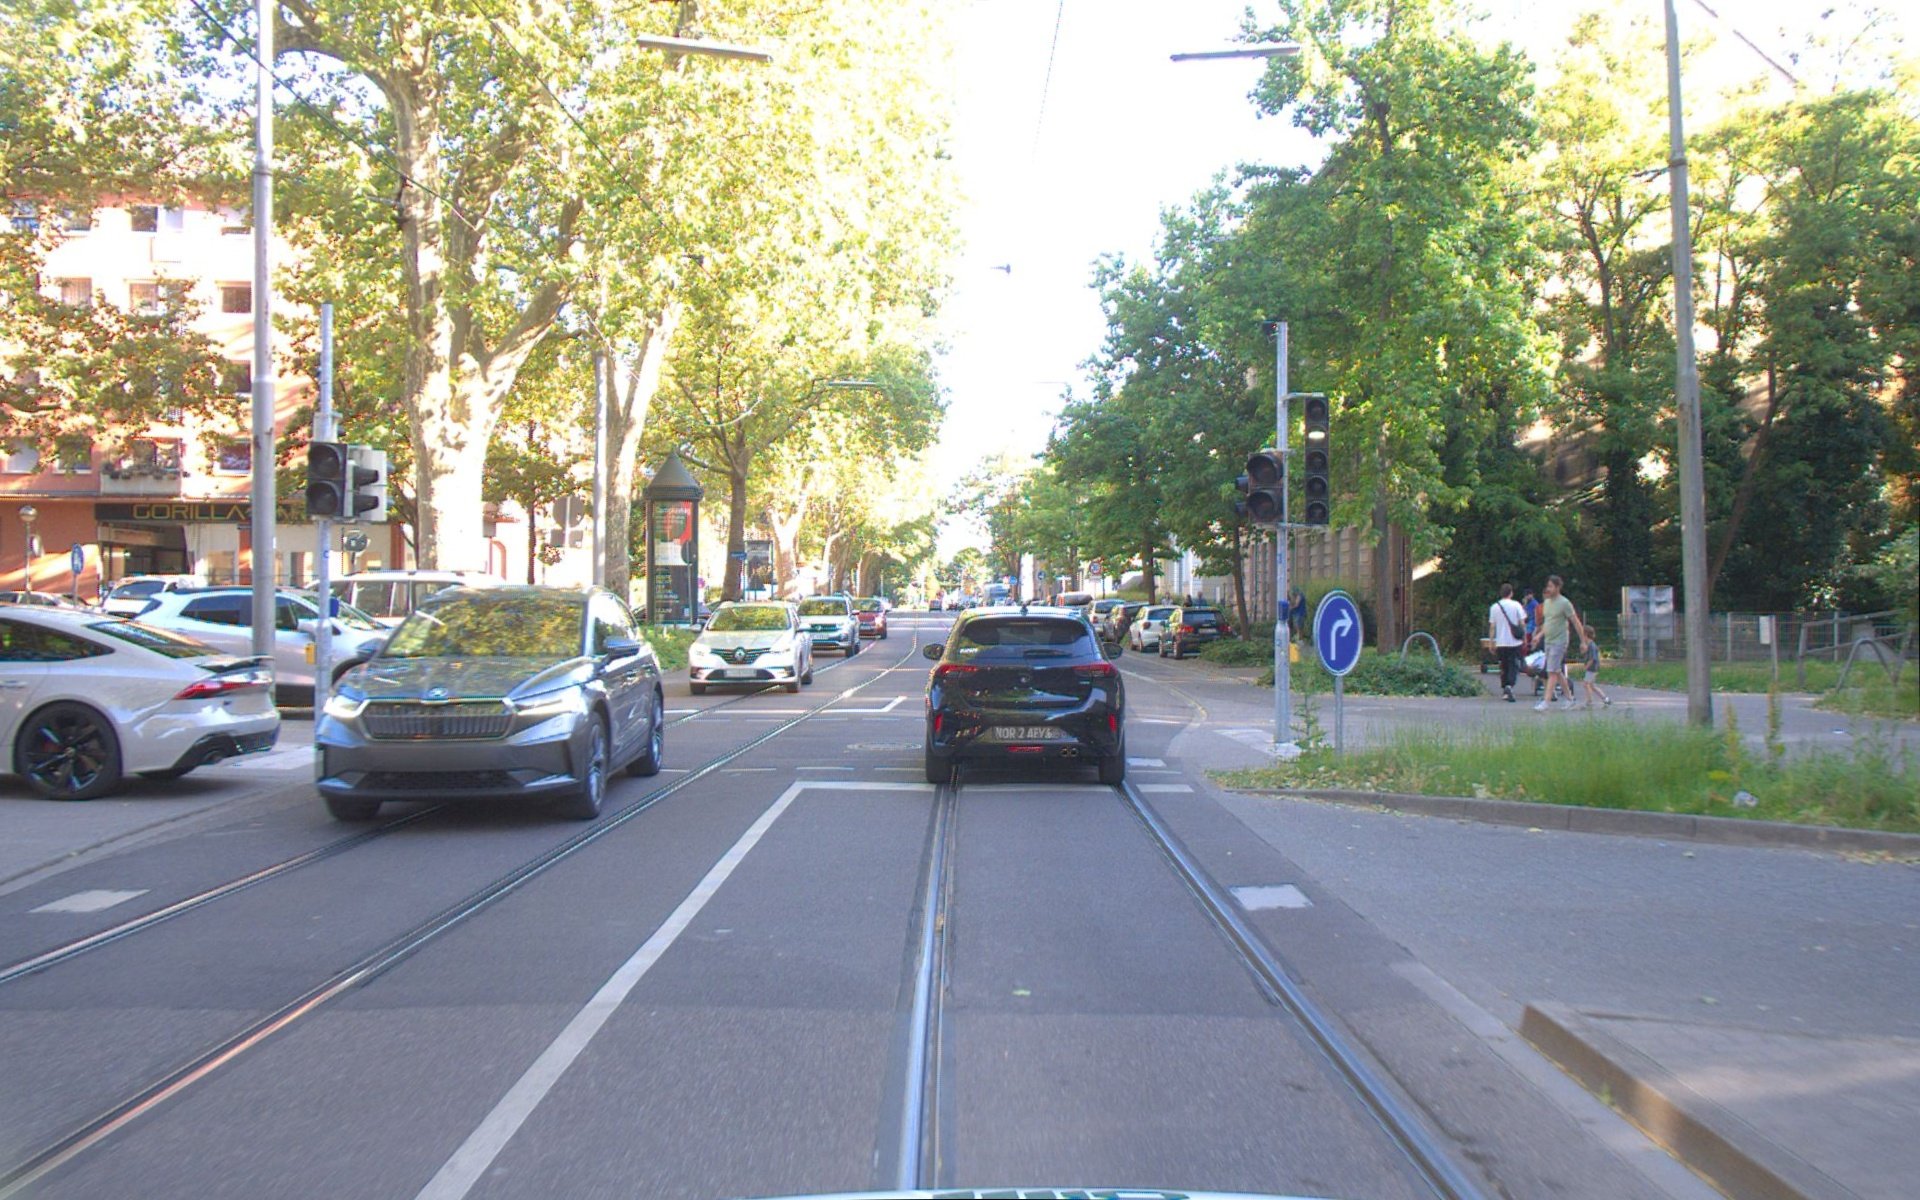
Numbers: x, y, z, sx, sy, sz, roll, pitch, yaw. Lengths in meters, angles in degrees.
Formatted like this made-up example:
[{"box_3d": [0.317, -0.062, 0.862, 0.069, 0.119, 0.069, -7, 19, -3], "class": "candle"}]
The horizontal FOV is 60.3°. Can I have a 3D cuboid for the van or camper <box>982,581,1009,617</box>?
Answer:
[{"box_3d": [3.339, -0.098, 157.016, 2.208, 3.272, 5.529, -1, 0, -1], "class": "van or camper"}]

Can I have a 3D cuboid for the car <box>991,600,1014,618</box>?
[{"box_3d": [3.646, 0.804, 143.249, 1.767, 1.460, 3.998, -1, -1, -2], "class": "car"}]

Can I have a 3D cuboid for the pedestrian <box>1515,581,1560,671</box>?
[{"box_3d": [11.411, 0.515, 32.694, 0.608, 1.756, 0.552, 1, -1, -17], "class": "pedestrian"}]

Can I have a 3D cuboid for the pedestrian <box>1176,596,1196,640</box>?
[{"box_3d": [9.132, 0.714, 66.883, 0.711, 1.739, 0.856, 1, -1, 1], "class": "pedestrian"}]

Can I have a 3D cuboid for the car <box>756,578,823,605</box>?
[{"box_3d": [-10.970, -0.550, 106.683, 4.214, 1.635, 1.924, 1, 0, -4], "class": "car"}]

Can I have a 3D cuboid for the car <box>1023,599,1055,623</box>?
[{"box_3d": [5.094, 0.728, 107.075, 1.668, 1.448, 3.977, -3, 0, -1], "class": "car"}]

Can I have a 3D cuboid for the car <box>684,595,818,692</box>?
[{"box_3d": [-3.430, 0.685, 27.819, 1.739, 1.486, 4.203, 1, 0, -1], "class": "car"}]

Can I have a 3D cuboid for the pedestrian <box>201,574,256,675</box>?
[{"box_3d": [-13.605, 0.452, 30.780, 0.630, 1.841, 0.752, 1, -1, 4], "class": "pedestrian"}]

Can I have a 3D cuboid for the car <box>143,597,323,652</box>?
[{"box_3d": [-21.286, 0.721, 48.586, 4.441, 1.515, 1.857, 1, 0, -7], "class": "car"}]

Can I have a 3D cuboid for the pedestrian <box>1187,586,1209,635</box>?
[{"box_3d": [8.989, 0.399, 62.398, 0.711, 1.824, 0.600, 1, -1, -1], "class": "pedestrian"}]

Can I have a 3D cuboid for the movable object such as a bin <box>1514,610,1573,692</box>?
[{"box_3d": [9.140, 0.782, 25.940, 0.625, 1.223, 1.306, -2, 0, 9], "class": "movable object such as a bin"}]

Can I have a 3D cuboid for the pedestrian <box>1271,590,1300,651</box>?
[{"box_3d": [9.921, 0.623, 50.436, 0.711, 1.824, 0.600, 1, -1, 25], "class": "pedestrian"}]

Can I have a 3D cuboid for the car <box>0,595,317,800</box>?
[{"box_3d": [-7.835, 0.701, 13.120, 4.669, 1.486, 1.954, 1, 0, -3], "class": "car"}]

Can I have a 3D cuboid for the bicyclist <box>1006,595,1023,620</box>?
[{"box_3d": [3.340, 0.459, 102.236, 0.939, 1.525, 1.093, 1, 0, -3], "class": "bicyclist"}]

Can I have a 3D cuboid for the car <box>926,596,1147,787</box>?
[{"box_3d": [0.567, 0.734, 15.046, 1.727, 1.486, 3.949, 1, 0, -1], "class": "car"}]

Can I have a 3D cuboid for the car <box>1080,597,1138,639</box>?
[{"box_3d": [6.060, 0.709, 67.720, 1.846, 1.595, 4.240, -2, 0, -2], "class": "car"}]

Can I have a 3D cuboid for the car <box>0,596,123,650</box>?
[{"box_3d": [-26.790, 0.645, 47.643, 4.386, 1.475, 1.820, 1, 0, -10], "class": "car"}]

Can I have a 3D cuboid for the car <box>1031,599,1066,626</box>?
[{"box_3d": [5.249, 0.727, 98.352, 1.678, 1.540, 4.034, -2, 0, -3], "class": "car"}]

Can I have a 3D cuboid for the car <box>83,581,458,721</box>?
[{"box_3d": [-8.847, 0.641, 21.516, 4.056, 1.675, 1.901, 1, 0, -3], "class": "car"}]

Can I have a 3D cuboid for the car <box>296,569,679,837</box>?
[{"box_3d": [-3.366, 0.660, 12.677, 1.870, 1.666, 4.318, -1, 0, -3], "class": "car"}]

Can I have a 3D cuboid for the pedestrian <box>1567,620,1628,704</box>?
[{"box_3d": [8.839, 0.849, 22.957, 0.660, 1.138, 0.660, 1, -1, 10], "class": "pedestrian"}]

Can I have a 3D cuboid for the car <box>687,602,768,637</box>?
[{"box_3d": [-10.351, 0.861, 73.784, 3.349, 1.490, 1.697, 1, 0, 1], "class": "car"}]

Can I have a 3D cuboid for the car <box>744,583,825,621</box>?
[{"box_3d": [-10.975, 0.131, 103.557, 4.934, 2.299, 2.083, 1, 0, -5], "class": "car"}]

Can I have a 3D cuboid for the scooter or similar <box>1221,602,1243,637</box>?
[{"box_3d": [9.868, 0.705, 59.952, 0.564, 1.268, 1.335, 1, 0, 0], "class": "scooter or similar"}]

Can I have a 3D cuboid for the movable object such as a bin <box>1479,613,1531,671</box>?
[{"box_3d": [11.127, 0.846, 33.794, 0.653, 1.146, 0.955, 1, 0, -9], "class": "movable object such as a bin"}]

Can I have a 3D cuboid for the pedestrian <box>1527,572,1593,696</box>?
[{"box_3d": [9.066, 0.498, 25.027, 0.710, 1.824, 0.969, -2, 0, 9], "class": "pedestrian"}]

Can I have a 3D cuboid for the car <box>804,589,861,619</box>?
[{"box_3d": [-11.499, 0.399, 149.423, 4.934, 2.416, 2.081, -3, 0, -1], "class": "car"}]

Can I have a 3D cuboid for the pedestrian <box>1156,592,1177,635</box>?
[{"box_3d": [8.333, 0.557, 66.872, 0.711, 1.722, 0.957, 1, -1, 1], "class": "pedestrian"}]

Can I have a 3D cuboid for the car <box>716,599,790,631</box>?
[{"box_3d": [-10.151, 0.721, 81.292, 3.349, 1.490, 1.759, 1, 0, 1], "class": "car"}]

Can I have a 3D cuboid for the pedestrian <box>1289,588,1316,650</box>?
[{"box_3d": [10.273, 0.561, 49.654, 0.587, 1.824, 0.728, 1, -1, -4], "class": "pedestrian"}]

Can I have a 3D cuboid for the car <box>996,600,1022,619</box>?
[{"box_3d": [3.928, 0.747, 133.100, 1.846, 1.459, 4.528, -2, 0, -1], "class": "car"}]

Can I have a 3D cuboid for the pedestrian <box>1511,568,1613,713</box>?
[{"box_3d": [8.188, 0.539, 22.519, 0.854, 1.918, 0.992, 1, -1, -19], "class": "pedestrian"}]

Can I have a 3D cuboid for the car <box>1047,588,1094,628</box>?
[{"box_3d": [5.524, 0.419, 83.303, 1.846, 1.883, 4.966, -2, 0, -1], "class": "car"}]

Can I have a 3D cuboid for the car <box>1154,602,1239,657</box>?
[{"box_3d": [6.679, 0.806, 47.048, 1.639, 1.437, 3.840, -2, 0, -3], "class": "car"}]

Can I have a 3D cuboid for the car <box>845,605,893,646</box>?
[{"box_3d": [-3.425, 0.941, 62.681, 1.627, 1.469, 3.472, 1, 0, -1], "class": "car"}]

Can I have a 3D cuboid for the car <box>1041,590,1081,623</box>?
[{"box_3d": [5.617, 0.358, 92.457, 1.847, 1.797, 4.676, 0, 0, -1], "class": "car"}]

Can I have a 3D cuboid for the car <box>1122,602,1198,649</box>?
[{"box_3d": [6.437, 0.809, 53.592, 1.846, 1.392, 4.105, -2, 0, -2], "class": "car"}]

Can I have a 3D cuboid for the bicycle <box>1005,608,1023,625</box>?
[{"box_3d": [3.333, 1.017, 102.259, 0.948, 1.016, 2.581, 1, 0, -3], "class": "bicycle"}]

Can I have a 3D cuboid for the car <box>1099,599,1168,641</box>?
[{"box_3d": [6.567, 0.745, 62.975, 1.846, 1.492, 4.591, -2, 0, -3], "class": "car"}]

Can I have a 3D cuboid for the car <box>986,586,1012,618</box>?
[{"box_3d": [3.523, 0.158, 150.454, 2.043, 2.820, 4.696, -1, 0, -1], "class": "car"}]

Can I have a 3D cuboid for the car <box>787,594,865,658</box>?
[{"box_3d": [-3.531, 0.665, 44.256, 1.779, 1.596, 4.115, -1, 0, -1], "class": "car"}]

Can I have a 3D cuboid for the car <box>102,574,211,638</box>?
[{"box_3d": [-26.734, 0.198, 55.194, 1.957, 2.038, 4.908, 1, 0, -10], "class": "car"}]

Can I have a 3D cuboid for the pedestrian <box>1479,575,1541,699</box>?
[{"box_3d": [8.294, 0.544, 24.986, 0.710, 1.824, 0.854, -2, 0, 9], "class": "pedestrian"}]

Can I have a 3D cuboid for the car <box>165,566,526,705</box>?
[{"box_3d": [-8.790, 0.503, 23.970, 4.479, 1.866, 1.937, 1, 0, -3], "class": "car"}]

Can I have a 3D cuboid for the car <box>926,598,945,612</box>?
[{"box_3d": [-3.468, 0.764, 231.310, 2.210, 1.873, 5.525, -1, 0, -5], "class": "car"}]
